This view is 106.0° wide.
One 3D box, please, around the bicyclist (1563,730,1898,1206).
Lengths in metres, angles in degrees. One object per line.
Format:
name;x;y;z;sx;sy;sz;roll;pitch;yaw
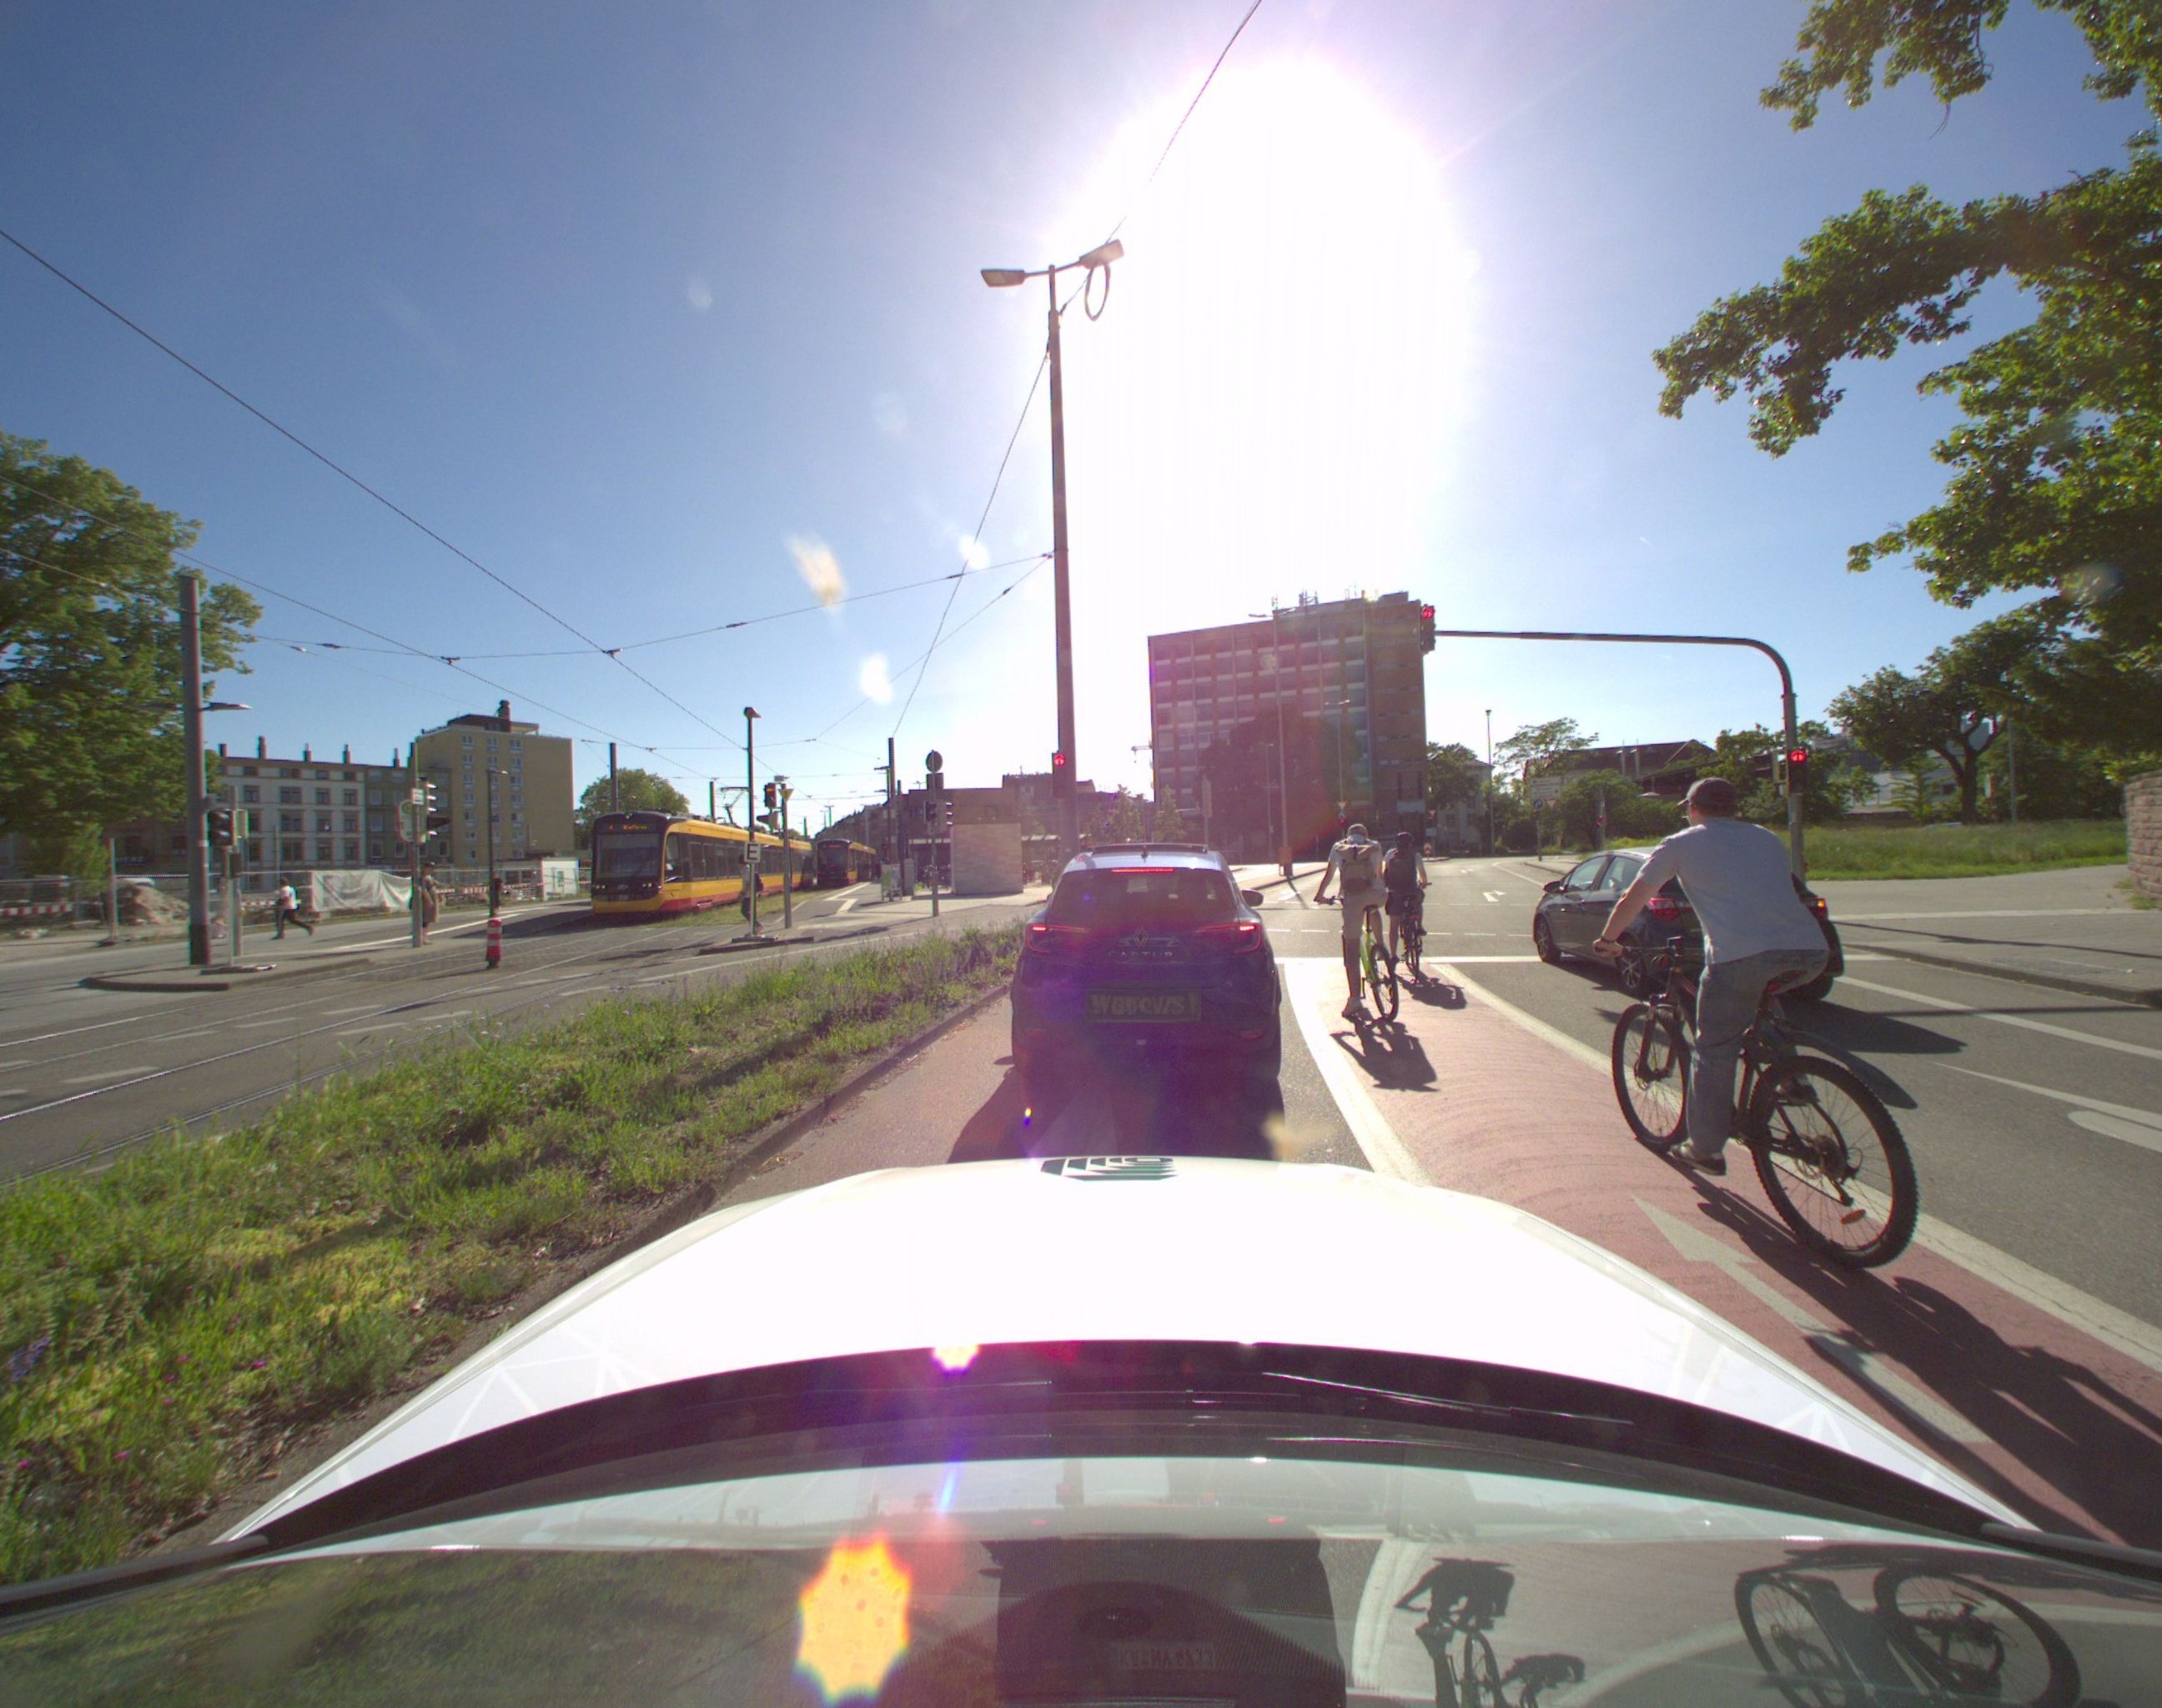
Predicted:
bicyclist;2.760;0.431;3.609;0.744;1.776;1.017;-2;-1;12

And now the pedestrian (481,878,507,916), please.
pedestrian;-28.269;2.056;39.224;0.668;1.767;0.796;-2;0;-13

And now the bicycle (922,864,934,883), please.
bicycle;-8.666;1.110;46.263;0.565;1.093;2.023;-1;-1;-9

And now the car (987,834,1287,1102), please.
car;0.565;0.690;6.791;1.813;1.600;3.666;-1;0;8

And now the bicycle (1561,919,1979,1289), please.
bicycle;2.837;0.902;3.644;0.607;1.077;1.836;-2;0;12

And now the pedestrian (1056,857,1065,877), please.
pedestrian;-1.988;1.280;79.707;0.721;1.857;0.705;-1;-2;10

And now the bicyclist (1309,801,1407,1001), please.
bicyclist;2.569;0.416;7.647;0.660;1.747;1.008;-2;0;9

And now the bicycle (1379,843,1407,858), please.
bicycle;34.463;-0.412;90.083;2.775;1.541;0.889;-2;-2;27

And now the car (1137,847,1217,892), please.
car;3.651;0.529;30.276;1.784;1.393;4.116;-2;1;23

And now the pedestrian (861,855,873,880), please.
pedestrian;-15.935;0.994;60.609;0.848;1.883;0.757;-1;-2;-14

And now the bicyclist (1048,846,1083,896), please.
bicyclist;-0.526;0.581;28.203;0.873;1.644;1.065;-3;-1;16

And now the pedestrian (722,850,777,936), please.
pedestrian;-7.329;0.844;18.044;1.017;1.832;0.757;-1;-2;-14

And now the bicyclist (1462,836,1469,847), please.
bicyclist;48.837;-1.605;103.433;0.612;1.444;0.824;-2;0;32

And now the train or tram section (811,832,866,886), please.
train or tram section;-17.602;0.391;59.723;2.873;3.508;10.499;-1;0;-12

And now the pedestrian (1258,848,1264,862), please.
pedestrian;22.427;0.111;101.617;0.555;1.670;0.479;-2;-2;39

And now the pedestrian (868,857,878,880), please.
pedestrian;-17.096;1.168;66.948;0.673;1.857;0.701;-1;-2;-7

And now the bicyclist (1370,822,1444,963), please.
bicyclist;3.979;0.447;10.003;0.716;1.626;1.059;-1;0;16

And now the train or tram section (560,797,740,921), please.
train or tram section;-14.693;0.181;28.872;2.820;3.508;10.433;-2;0;-12

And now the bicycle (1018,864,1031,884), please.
bicycle;-2.966;1.057;42.874;0.580;1.058;1.812;-1;-1;-7

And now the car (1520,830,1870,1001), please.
car;6.576;0.572;9.280;1.744;1.541;3.670;-1;0;11

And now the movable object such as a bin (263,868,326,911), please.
movable object such as a bin;-53.462;2.403;55.366;3.950;2.796;1.844;-2;-2;26

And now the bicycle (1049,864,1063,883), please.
bicycle;-1.324;1.038;43.297;0.580;0.961;2.053;-1;-1;-7

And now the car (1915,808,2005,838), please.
car;67.906;-2.388;62.995;4.305;2.014;2.013;-2;-2;34

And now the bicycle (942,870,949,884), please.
bicycle;-8.811;1.493;53.009;0.421;0.938;1.374;0;-1;-9

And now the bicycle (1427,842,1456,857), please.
bicycle;39.531;-0.521;89.251;2.775;1.541;0.889;-2;-2;27

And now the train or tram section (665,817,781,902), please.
train or tram section;-16.799;0.264;39.124;2.818;3.508;10.569;-1;0;-11

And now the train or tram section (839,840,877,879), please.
train or tram section;-21.856;0.579;80.193;2.873;3.508;10.499;-1;0;-12

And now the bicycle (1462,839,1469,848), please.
bicycle;48.908;-1.332;103.520;0.603;1.093;1.682;-3;0;32

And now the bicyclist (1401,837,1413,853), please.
bicyclist;37.100;-0.989;92.665;1.148;1.797;0.888;-1;-2;18

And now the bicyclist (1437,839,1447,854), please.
bicyclist;39.577;-0.816;89.233;0.850;1.692;0.889;-2;-2;27

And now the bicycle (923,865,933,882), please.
bicycle;-9.853;1.279;52.603;0.565;1.093;2.023;-1;-1;-9

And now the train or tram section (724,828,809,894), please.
train or tram section;-18.893;0.423;49.688;2.818;3.508;11.166;-1;0;-11

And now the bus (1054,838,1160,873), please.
bus;2.552;0.266;86.908;12.287;3.396;2.900;-2;-2;42

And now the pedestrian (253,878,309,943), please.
pedestrian;-22.663;1.580;23.092;0.978;1.767;0.855;-2;0;-37

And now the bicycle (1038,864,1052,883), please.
bicycle;-1.938;1.047;43.224;0.580;0.961;2.053;-1;-1;-7

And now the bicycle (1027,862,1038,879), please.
bicycle;-3.355;1.146;56.401;0.580;1.088;1.865;-1;-1;-9

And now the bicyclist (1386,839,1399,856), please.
bicyclist;34.462;-0.732;90.075;1.195;1.897;0.889;-2;-2;27

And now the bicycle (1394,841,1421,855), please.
bicycle;37.103;-0.677;92.664;2.779;1.541;0.888;-1;-2;17

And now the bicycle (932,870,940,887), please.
bicycle;-8.535;1.446;47.977;0.422;0.938;1.300;0;-1;-13

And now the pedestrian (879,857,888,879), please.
pedestrian;-16.760;1.212;69.114;0.634;1.857;0.699;0;-2;-17

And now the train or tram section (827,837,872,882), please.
train or tram section;-19.745;0.493;69.924;2.873;3.508;10.499;-1;0;-12

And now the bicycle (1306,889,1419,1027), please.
bicycle;2.595;0.908;7.695;0.659;1.047;1.895;-2;0;9

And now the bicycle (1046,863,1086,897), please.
bicycle;-0.494;0.871;28.204;0.767;1.080;2.044;-3;-1;16

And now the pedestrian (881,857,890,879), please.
pedestrian;-17.169;1.226;71.517;0.632;1.857;0.700;-1;-2;-9

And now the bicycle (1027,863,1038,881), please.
bicycle;-2.924;1.084;48.911;0.580;1.088;2.053;-1;-1;-7

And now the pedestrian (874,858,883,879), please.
pedestrian;-17.980;1.257;72.253;0.631;1.857;0.701;-1;-2;-7

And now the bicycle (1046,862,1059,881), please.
bicycle;-1.716;1.064;48.954;0.580;1.088;2.053;-1;-1;-7

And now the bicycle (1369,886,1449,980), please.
bicycle;4.003;0.918;10.061;0.717;0.960;1.892;-1;0;16

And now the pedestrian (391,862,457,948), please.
pedestrian;-14.970;1.134;18.580;0.902;1.850;0.759;-2;2;-20
